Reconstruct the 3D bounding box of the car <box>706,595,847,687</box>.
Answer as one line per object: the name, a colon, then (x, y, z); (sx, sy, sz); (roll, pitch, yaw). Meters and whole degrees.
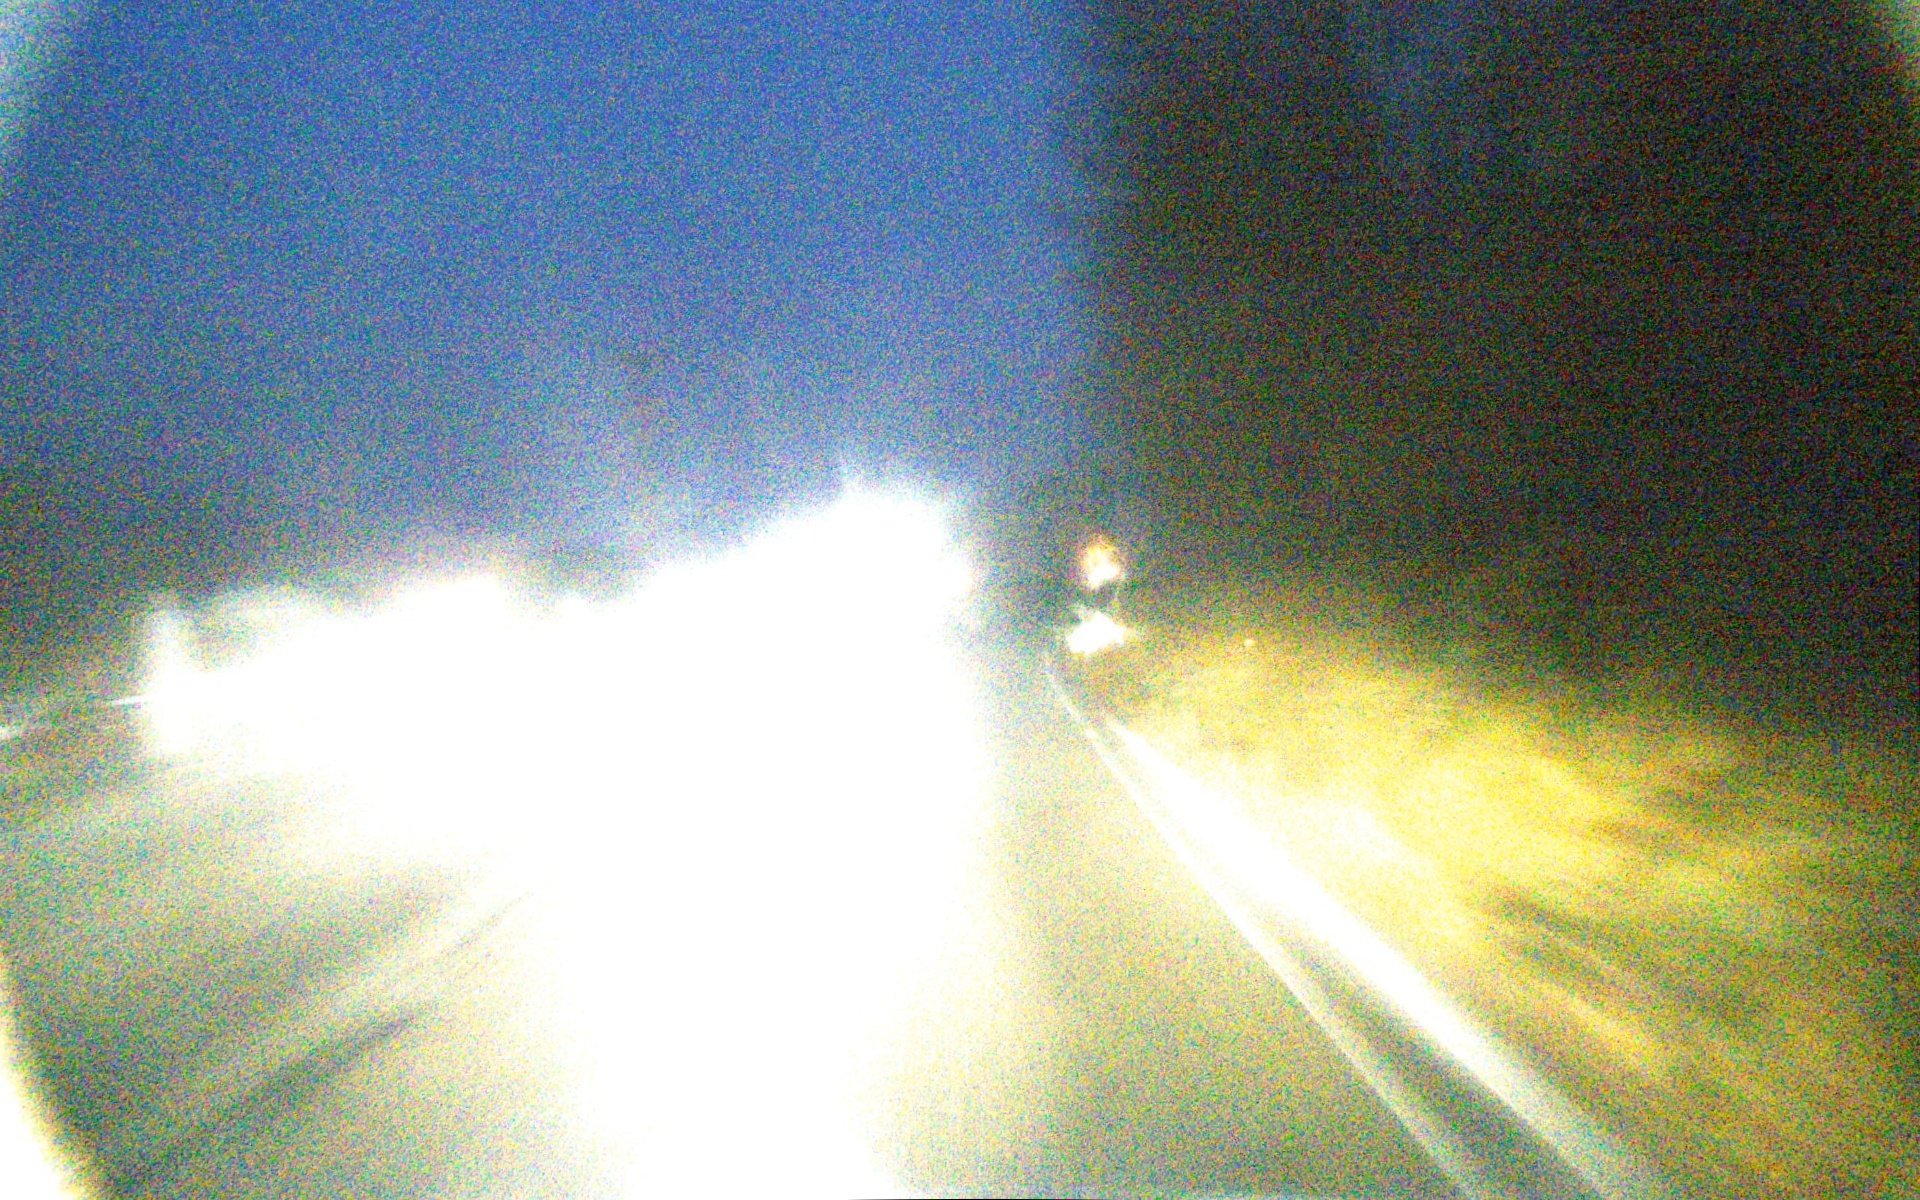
car: (-3.050, 0.660, 28.260); (1.953, 1.436, 4.000); (1, 0, 0)
